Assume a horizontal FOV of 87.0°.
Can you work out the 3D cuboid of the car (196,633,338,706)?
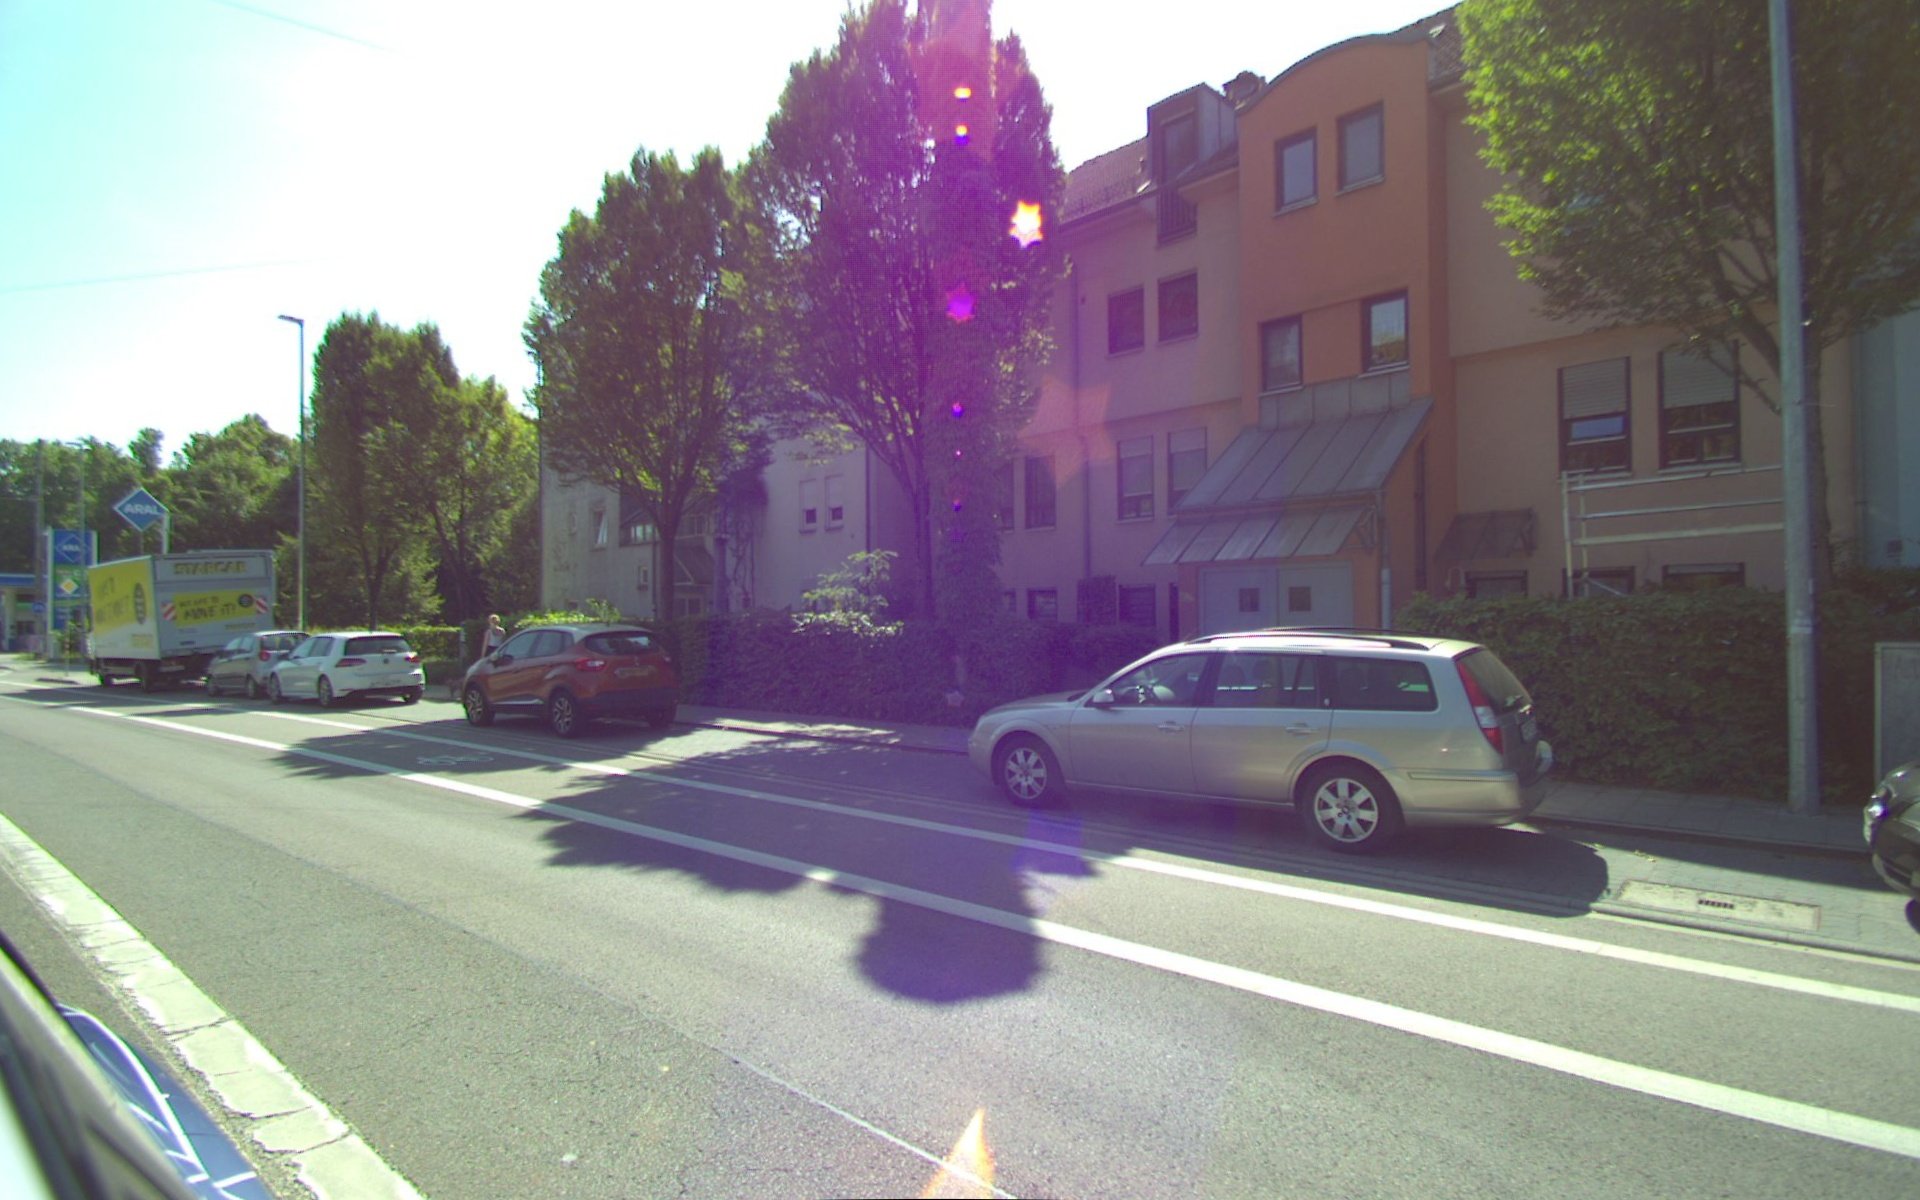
[{"bbox_3d":[-16.136,1.563,23.518,3.628,1.495,1.595,-2,0,36],"label":"car"}]

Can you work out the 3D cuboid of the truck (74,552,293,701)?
[{"bbox_3d":[-21.468,0.730,27.750,8.578,3.557,2.642,-2,0,38],"label":"truck"}]

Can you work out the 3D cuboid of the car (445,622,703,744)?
[{"bbox_3d":[-5.951,1.174,15.377,4.313,1.563,1.714,-2,-1,39],"label":"car"}]

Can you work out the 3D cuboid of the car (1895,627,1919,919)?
[{"bbox_3d":[6.926,0.864,3.932,4.712,1.485,1.705,-2,0,41],"label":"car"}]

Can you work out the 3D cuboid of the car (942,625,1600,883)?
[{"bbox_3d":[2.281,0.987,8.311,4.852,1.495,1.763,-1,0,39],"label":"car"}]

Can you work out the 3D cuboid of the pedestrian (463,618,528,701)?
[{"bbox_3d":[-9.811,1.234,21.374,1.054,1.703,0.866,-2,-2,38],"label":"pedestrian"}]

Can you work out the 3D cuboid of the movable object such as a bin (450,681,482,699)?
[{"bbox_3d":[-10.660,1.937,21.835,0.755,0.342,0.323,-2,-2,38],"label":"movable object such as a bin"}]

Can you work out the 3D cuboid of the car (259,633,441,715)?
[{"bbox_3d":[-12.440,1.435,20.551,4.275,1.440,1.741,-2,0,38],"label":"car"}]

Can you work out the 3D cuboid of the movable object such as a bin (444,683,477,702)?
[{"bbox_3d":[-10.199,1.889,20.664,0.755,0.357,0.323,-2,-2,38],"label":"movable object such as a bin"}]

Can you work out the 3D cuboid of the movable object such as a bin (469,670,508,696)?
[{"bbox_3d":[-10.456,1.834,22.432,1.074,0.520,0.323,-2,-2,38],"label":"movable object such as a bin"}]
